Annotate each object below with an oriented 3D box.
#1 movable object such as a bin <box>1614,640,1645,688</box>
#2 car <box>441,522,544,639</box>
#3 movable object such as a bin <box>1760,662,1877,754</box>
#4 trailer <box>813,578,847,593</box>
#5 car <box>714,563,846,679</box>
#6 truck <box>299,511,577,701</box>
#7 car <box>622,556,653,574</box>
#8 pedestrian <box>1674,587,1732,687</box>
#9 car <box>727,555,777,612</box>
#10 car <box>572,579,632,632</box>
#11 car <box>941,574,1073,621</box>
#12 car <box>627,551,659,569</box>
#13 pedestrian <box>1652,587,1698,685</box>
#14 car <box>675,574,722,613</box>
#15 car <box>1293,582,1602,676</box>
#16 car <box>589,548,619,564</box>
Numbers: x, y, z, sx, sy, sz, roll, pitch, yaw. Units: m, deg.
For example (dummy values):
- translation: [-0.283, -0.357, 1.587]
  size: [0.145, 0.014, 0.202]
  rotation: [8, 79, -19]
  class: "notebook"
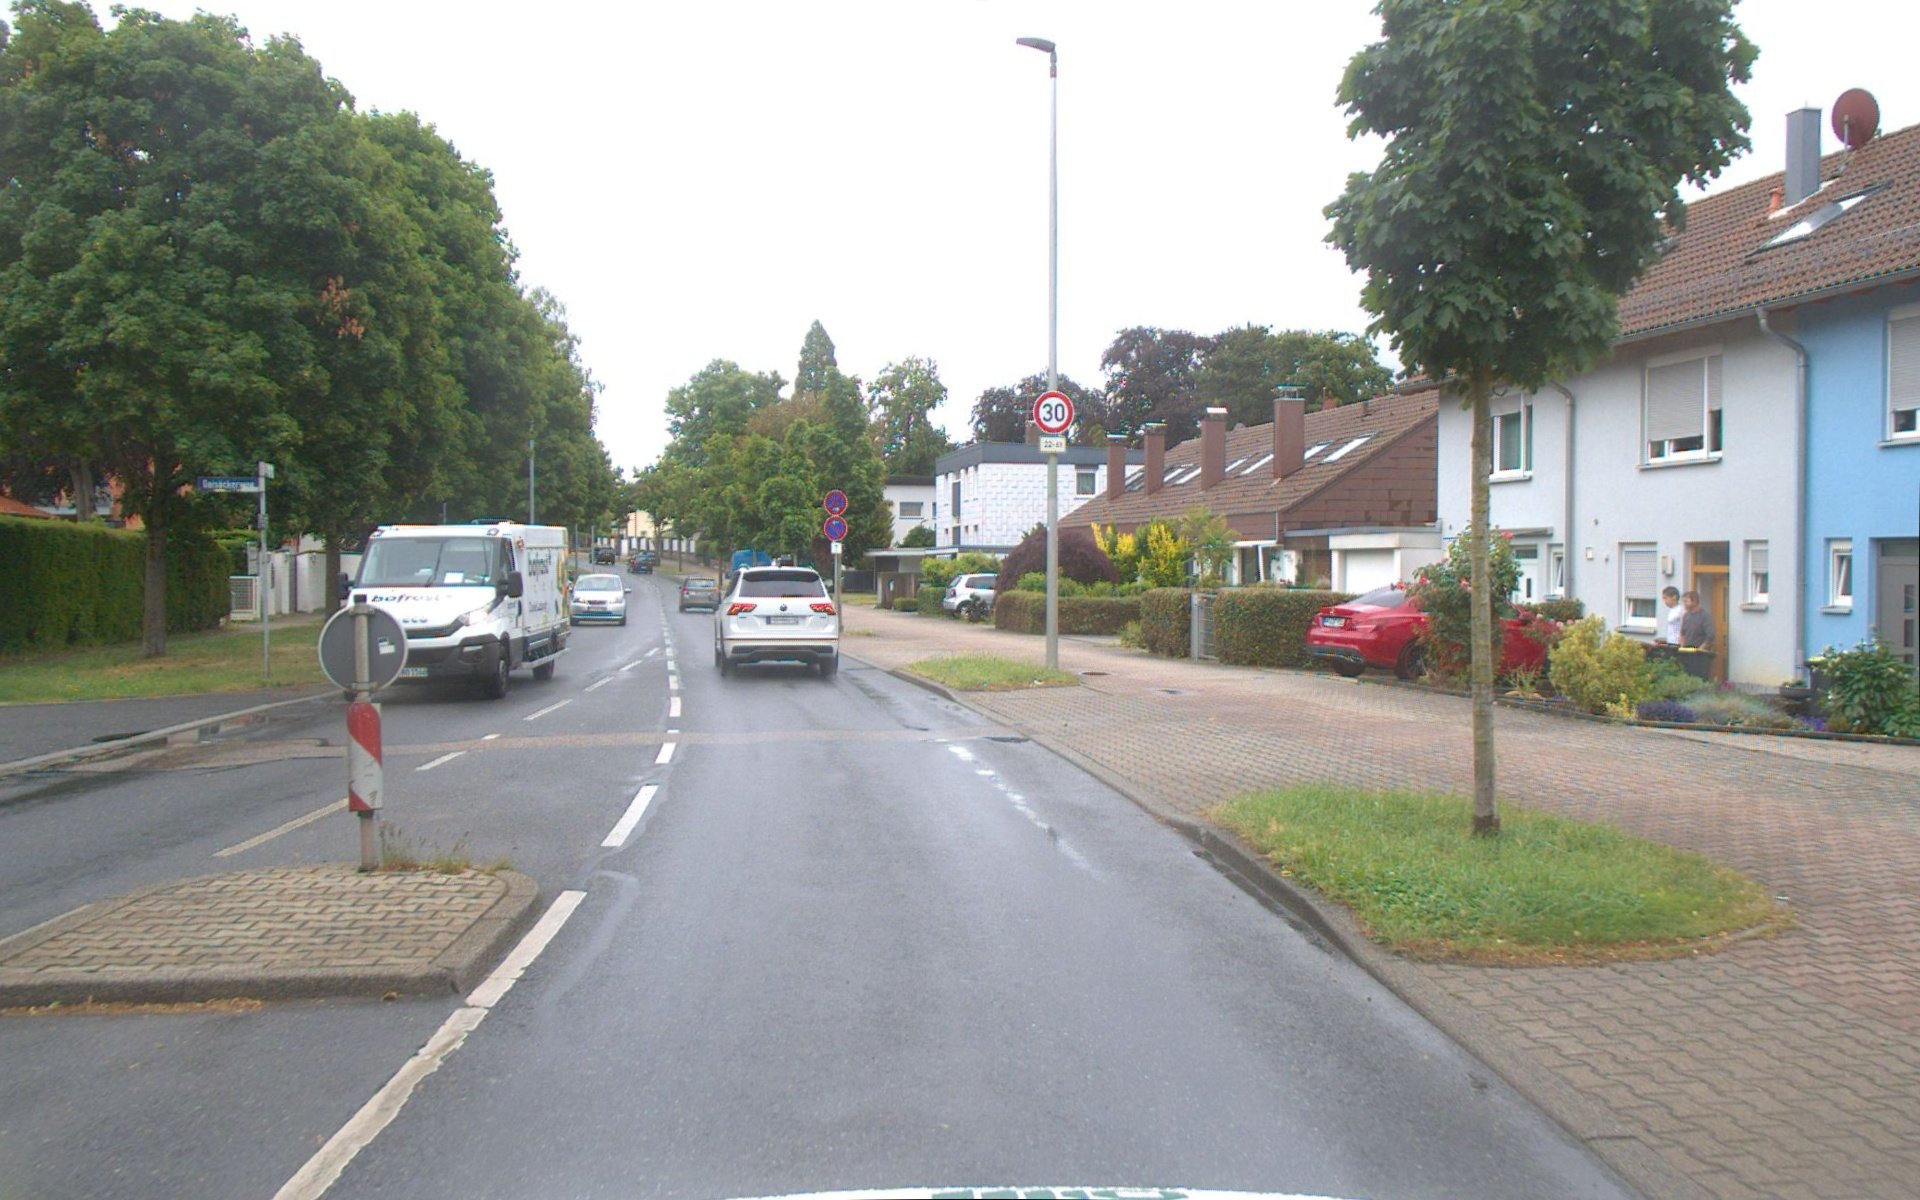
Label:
- translation: [9.006, 0.858, 22.243]
  size: [0.251, 0.637, 0.324]
  rotation: [0, 1, -10]
  class: "movable object such as a bin"
- translation: [-12.047, -0.521, 42.948]
  size: [1.958, 2.776, 5.923]
  rotation: [1, 1, -11]
  class: "car"
- translation: [9.825, 1.221, 18.958]
  size: [0.877, 0.980, 0.815]
  rotation: [0, 1, -11]
  class: "movable object such as a bin"
- translation: [-8.154, -0.911, 103.684]
  size: [2.004, 0.899, 1.362]
  rotation: [1, 1, -8]
  class: "trailer"
- translation: [-2.951, 0.296, 26.445]
  size: [1.831, 1.679, 3.990]
  rotation: [-1, 0, -10]
  class: "car"
- translation: [-6.948, 0.045, 22.906]
  size: [2.173, 2.242, 6.459]
  rotation: [1, 0, -4]
  class: "truck"
- translation: [-27.198, -2.952, 139.495]
  size: [1.622, 1.452, 3.969]
  rotation: [1, 2, -25]
  class: "car"
- translation: [10.407, 0.505, 23.162]
  size: [0.528, 1.374, 0.525]
  rotation: [0, 0, -24]
  class: "pedestrian"
- translation: [-10.112, -0.838, 80.077]
  size: [1.958, 2.631, 5.618]
  rotation: [-2, 2, -11]
  class: "car"
- translation: [-10.493, 0.122, 48.640]
  size: [1.565, 1.489, 3.445]
  rotation: [0, 1, -10]
  class: "car"
- translation: [1.483, -0.088, 53.128]
  size: [3.918, 1.467, 1.841]
  rotation: [0, 0, -13]
  class: "car"
- translation: [-29.133, -3.689, 151.932]
  size: [1.625, 1.452, 3.961]
  rotation: [1, 2, -30]
  class: "car"
- translation: [10.247, 0.508, 23.722]
  size: [0.485, 1.374, 0.565]
  rotation: [0, 0, 11]
  class: "pedestrian"
- translation: [-10.904, -0.274, 68.817]
  size: [1.738, 1.578, 3.988]
  rotation: [0, 1, -12]
  class: "car"
- translation: [7.183, 0.428, 24.381]
  size: [4.242, 1.282, 1.669]
  rotation: [1, 1, -21]
  class: "car"
- translation: [-33.529, -4.144, 155.767]
  size: [1.625, 1.452, 3.960]
  rotation: [1, 2, -30]
  class: "car"
